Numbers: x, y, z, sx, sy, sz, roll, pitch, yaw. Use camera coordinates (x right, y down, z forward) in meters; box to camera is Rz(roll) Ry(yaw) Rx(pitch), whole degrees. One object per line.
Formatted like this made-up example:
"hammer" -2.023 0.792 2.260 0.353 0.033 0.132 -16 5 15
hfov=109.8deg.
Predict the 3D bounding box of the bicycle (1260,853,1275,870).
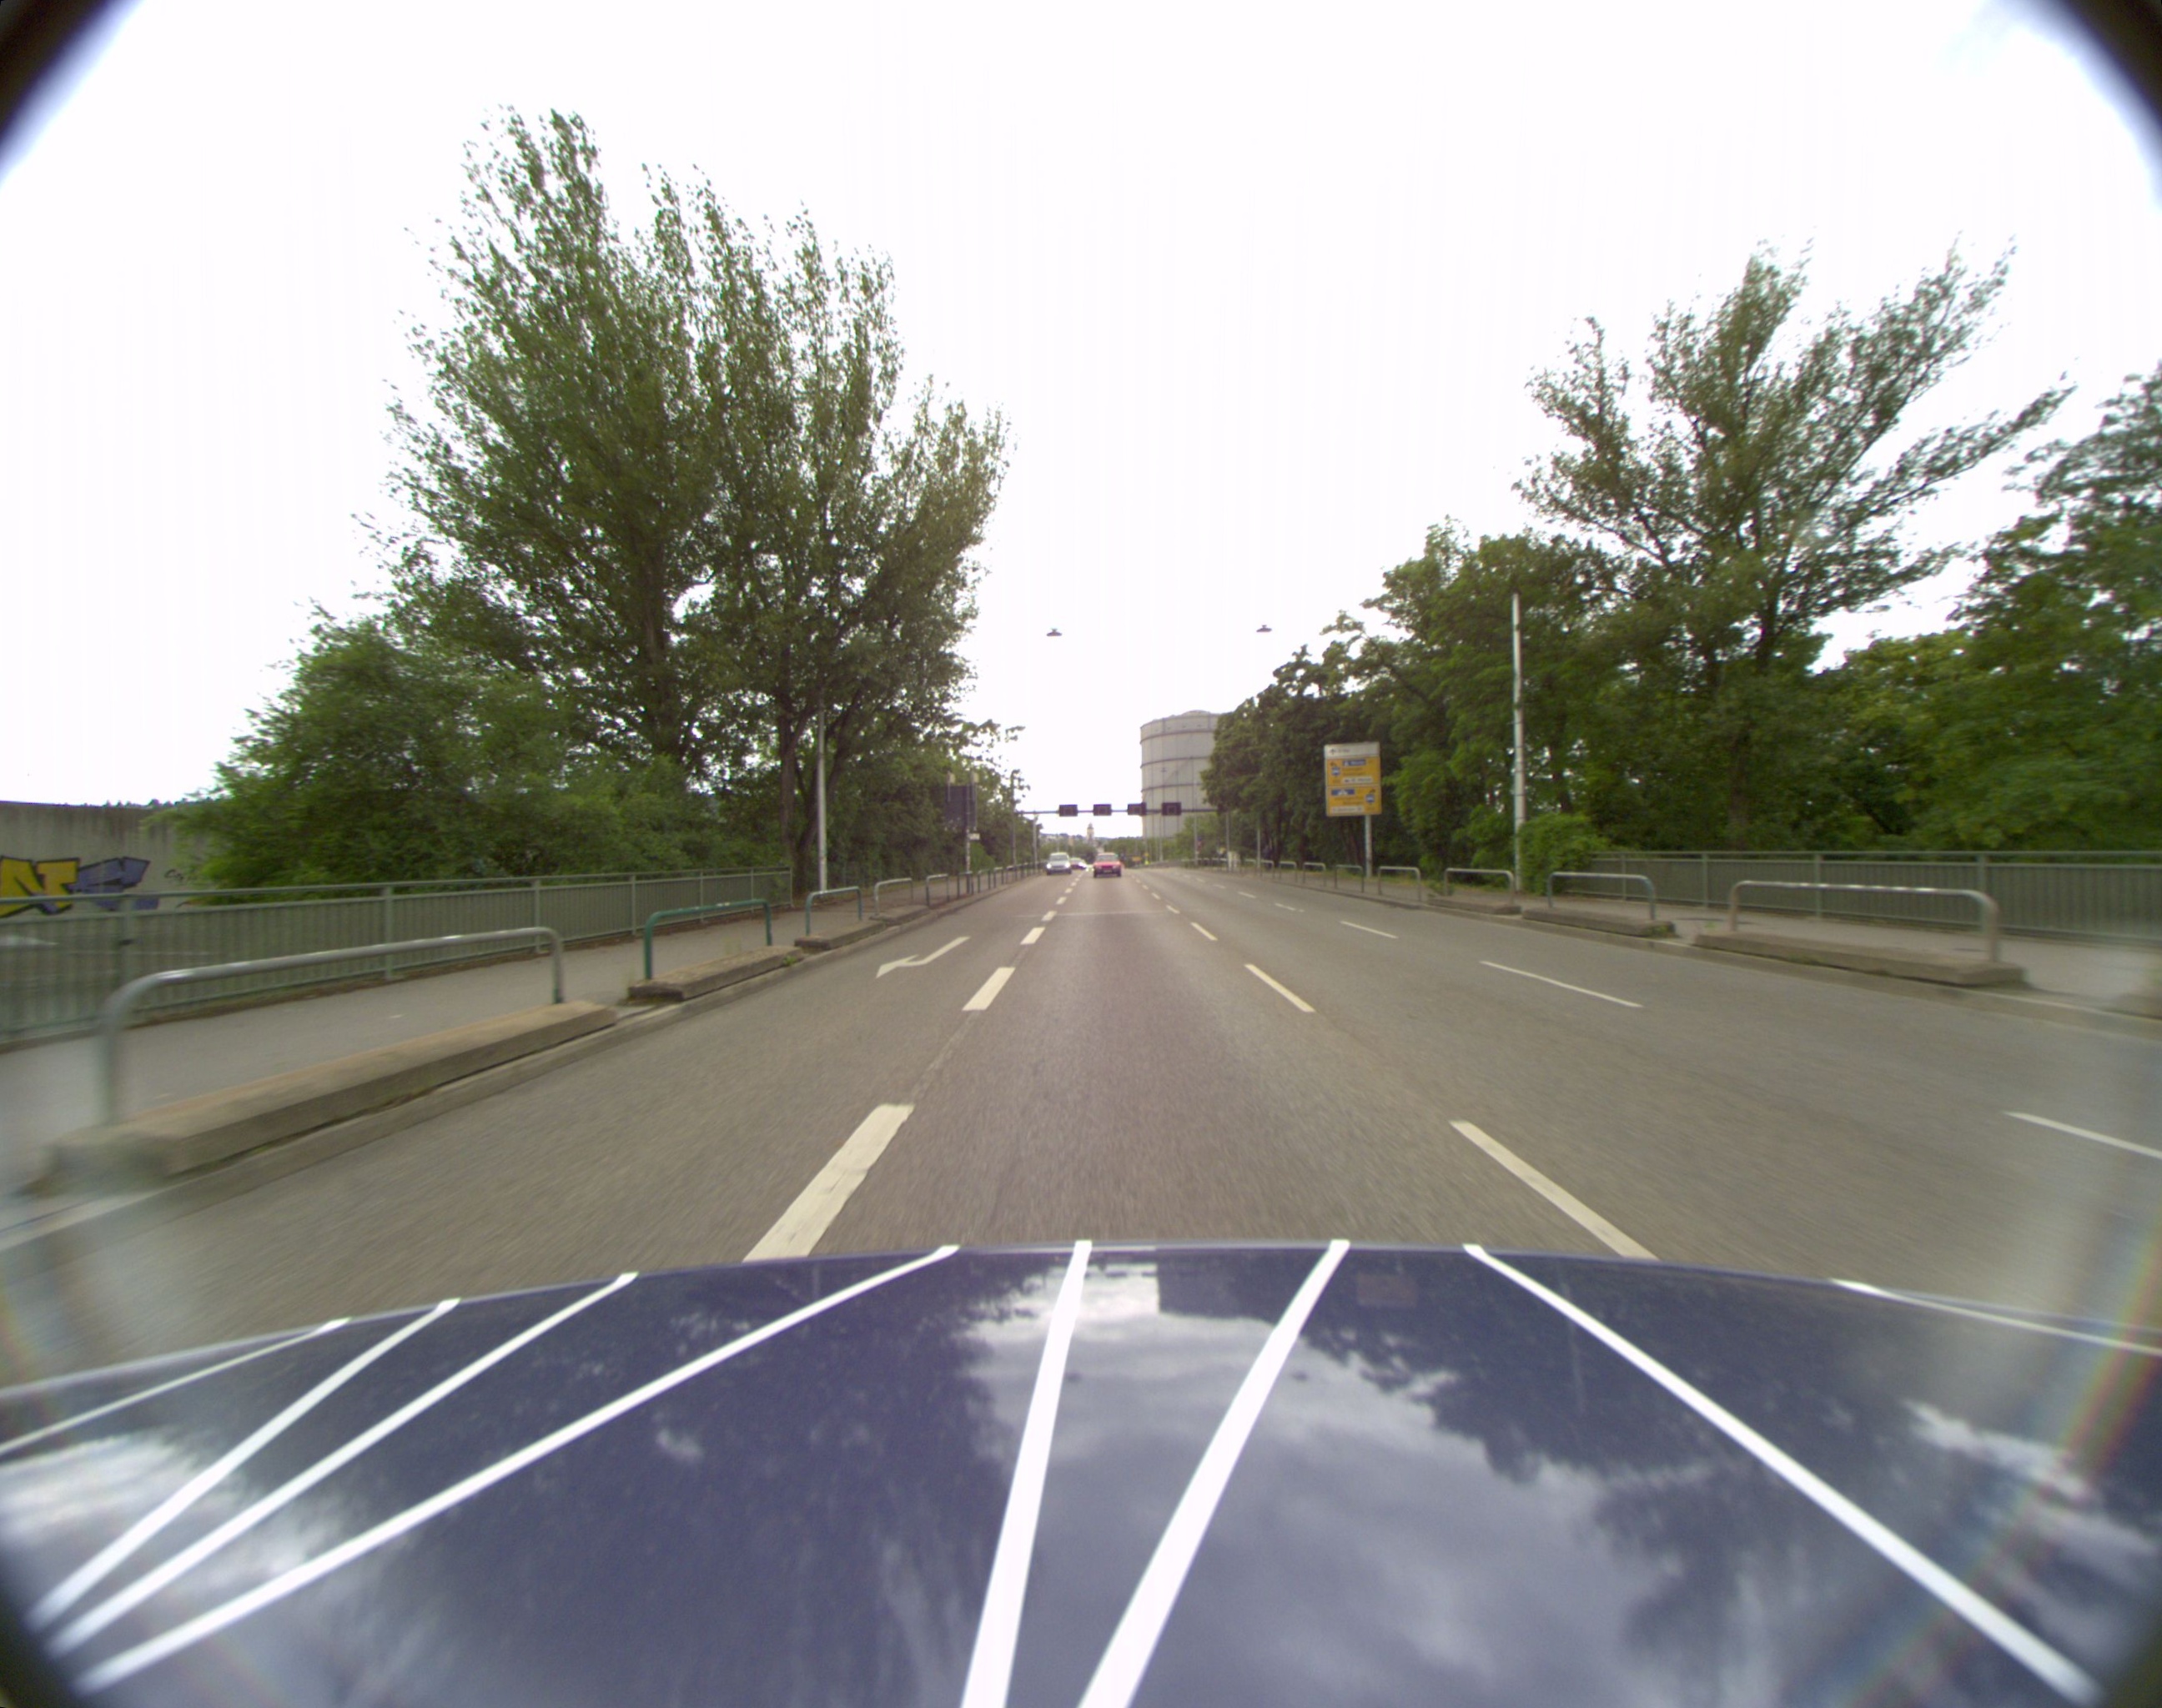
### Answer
"bicycle" 11.752 0.465 47.962 0.486 0.996 2.002 0 0 0

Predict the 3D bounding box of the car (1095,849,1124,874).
"car" 1.711 0.451 46.238 1.696 1.434 4.001 1 0 1

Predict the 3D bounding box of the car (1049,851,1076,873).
"car" -1.335 0.552 56.359 1.771 1.565 4.000 0 0 2

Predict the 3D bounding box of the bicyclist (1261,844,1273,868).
"bicyclist" 11.749 0.098 47.966 0.516 1.508 0.984 0 1 0

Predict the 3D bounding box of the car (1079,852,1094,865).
"car" 0.775 0.691 108.903 1.998 1.775 4.001 -1 -1 3

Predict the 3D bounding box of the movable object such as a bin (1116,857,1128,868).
"movable object such as a bin" 12.624 2.508 232.738 3.463 3.303 9.360 1 0 2

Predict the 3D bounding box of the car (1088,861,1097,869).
"car" 3.136 2.999 205.695 1.998 1.792 4.001 -3 0 5

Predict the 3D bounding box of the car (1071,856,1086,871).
"car" -0.284 1.112 91.521 1.776 1.696 4.000 -2 0 1
